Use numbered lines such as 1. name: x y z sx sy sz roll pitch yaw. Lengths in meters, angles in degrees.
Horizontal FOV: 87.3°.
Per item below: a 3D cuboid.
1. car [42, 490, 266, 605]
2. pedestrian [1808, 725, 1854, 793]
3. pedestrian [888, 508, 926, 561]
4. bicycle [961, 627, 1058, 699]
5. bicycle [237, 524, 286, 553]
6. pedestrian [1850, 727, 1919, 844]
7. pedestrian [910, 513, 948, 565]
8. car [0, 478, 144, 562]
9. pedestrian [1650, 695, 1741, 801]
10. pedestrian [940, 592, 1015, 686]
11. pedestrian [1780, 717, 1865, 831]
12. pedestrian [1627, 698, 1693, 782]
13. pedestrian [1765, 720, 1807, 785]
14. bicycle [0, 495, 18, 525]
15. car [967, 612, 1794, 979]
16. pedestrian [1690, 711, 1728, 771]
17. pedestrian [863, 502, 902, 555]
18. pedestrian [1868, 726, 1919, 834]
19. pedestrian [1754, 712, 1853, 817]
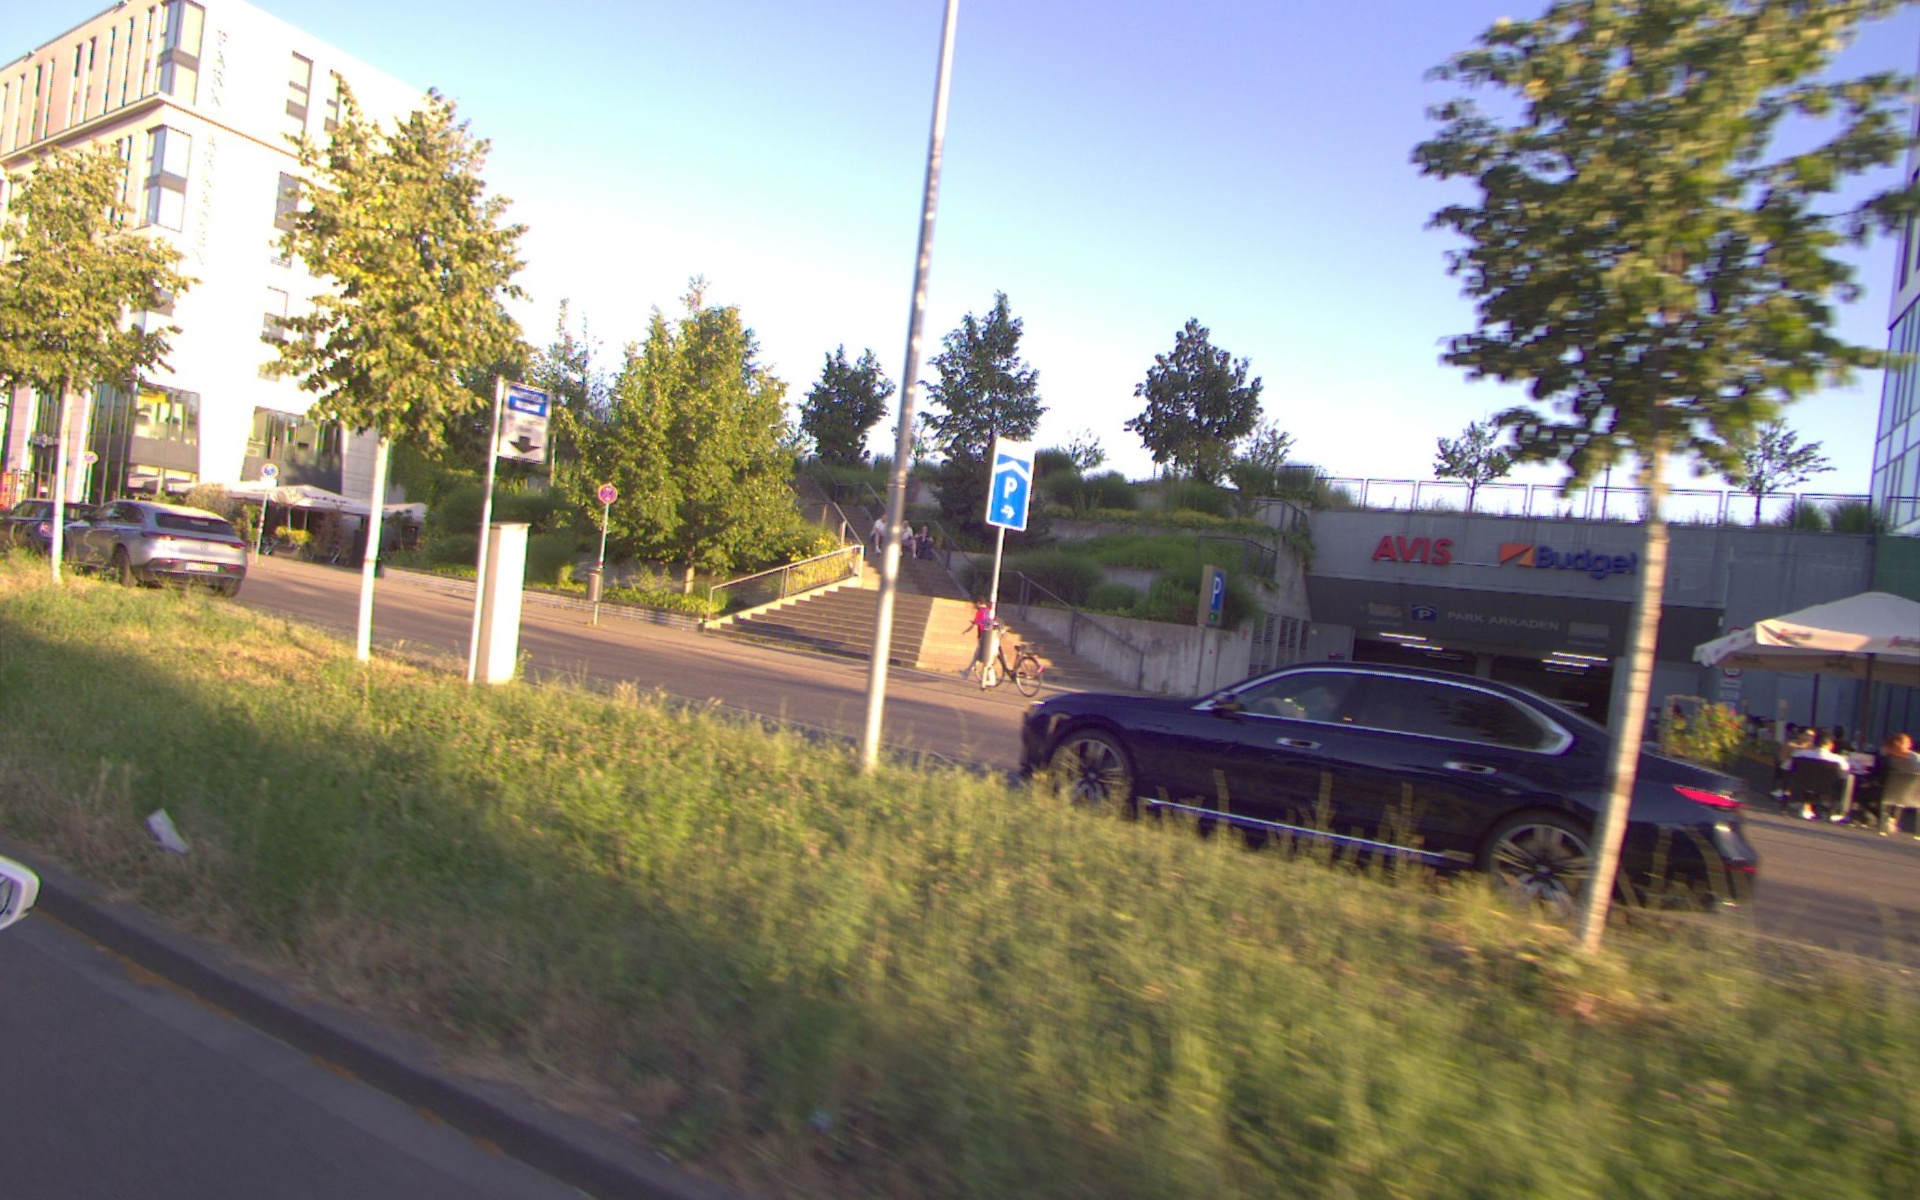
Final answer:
1. car: -15.596 -1.029 19.395 4.598 1.652 1.811 7 0 31
2. pedestrian: 17.085 3.110 19.746 0.527 1.230 0.474 7 1 38
3. pedestrian: -1.539 -1.893 29.198 0.662 1.398 0.821 8 0 -27
4. bicycle: 0.880 1.132 18.295 0.540 1.056 1.892 6 0 -39
5. bicycle: -32.820 -2.900 47.281 0.491 1.121 1.798 7 0 28
6. pedestrian: 11.907 2.344 12.813 0.674 1.308 0.774 8 3 38
7. pedestrian: -0.926 -1.783 29.543 0.662 1.397 0.821 8 -1 -27
8. car: -19.990 -1.816 22.204 3.933 1.414 1.753 7 -1 31
9. pedestrian: 10.774 2.148 14.759 0.756 1.385 0.745 7 1 20
10. pedestrian: 0.342 0.767 19.515 1.060 1.675 0.696 7 1 31
11. pedestrian: 11.318 2.264 13.231 0.674 1.308 0.779 8 3 38
12. pedestrian: 11.894 2.358 17.117 0.758 1.281 0.744 7 1 32
13. pedestrian: 16.801 3.089 20.469 0.527 1.230 0.474 7 1 38
14. bicycle: -43.384 -4.114 45.498 1.642 1.246 0.618 7 1 30
15. car: 2.892 1.210 7.955 5.320 1.519 1.922 7 0 31
16. pedestrian: 16.380 3.073 22.001 0.527 1.230 0.474 7 1 38
17. pedestrian: -2.220 -2.023 28.748 0.662 1.397 0.821 8 -1 -27
18. pedestrian: 12.680 2.394 13.329 0.617 1.308 0.684 7 2 19
19. pedestrian: 11.850 2.299 14.155 0.672 1.308 0.662 6 2 -1
